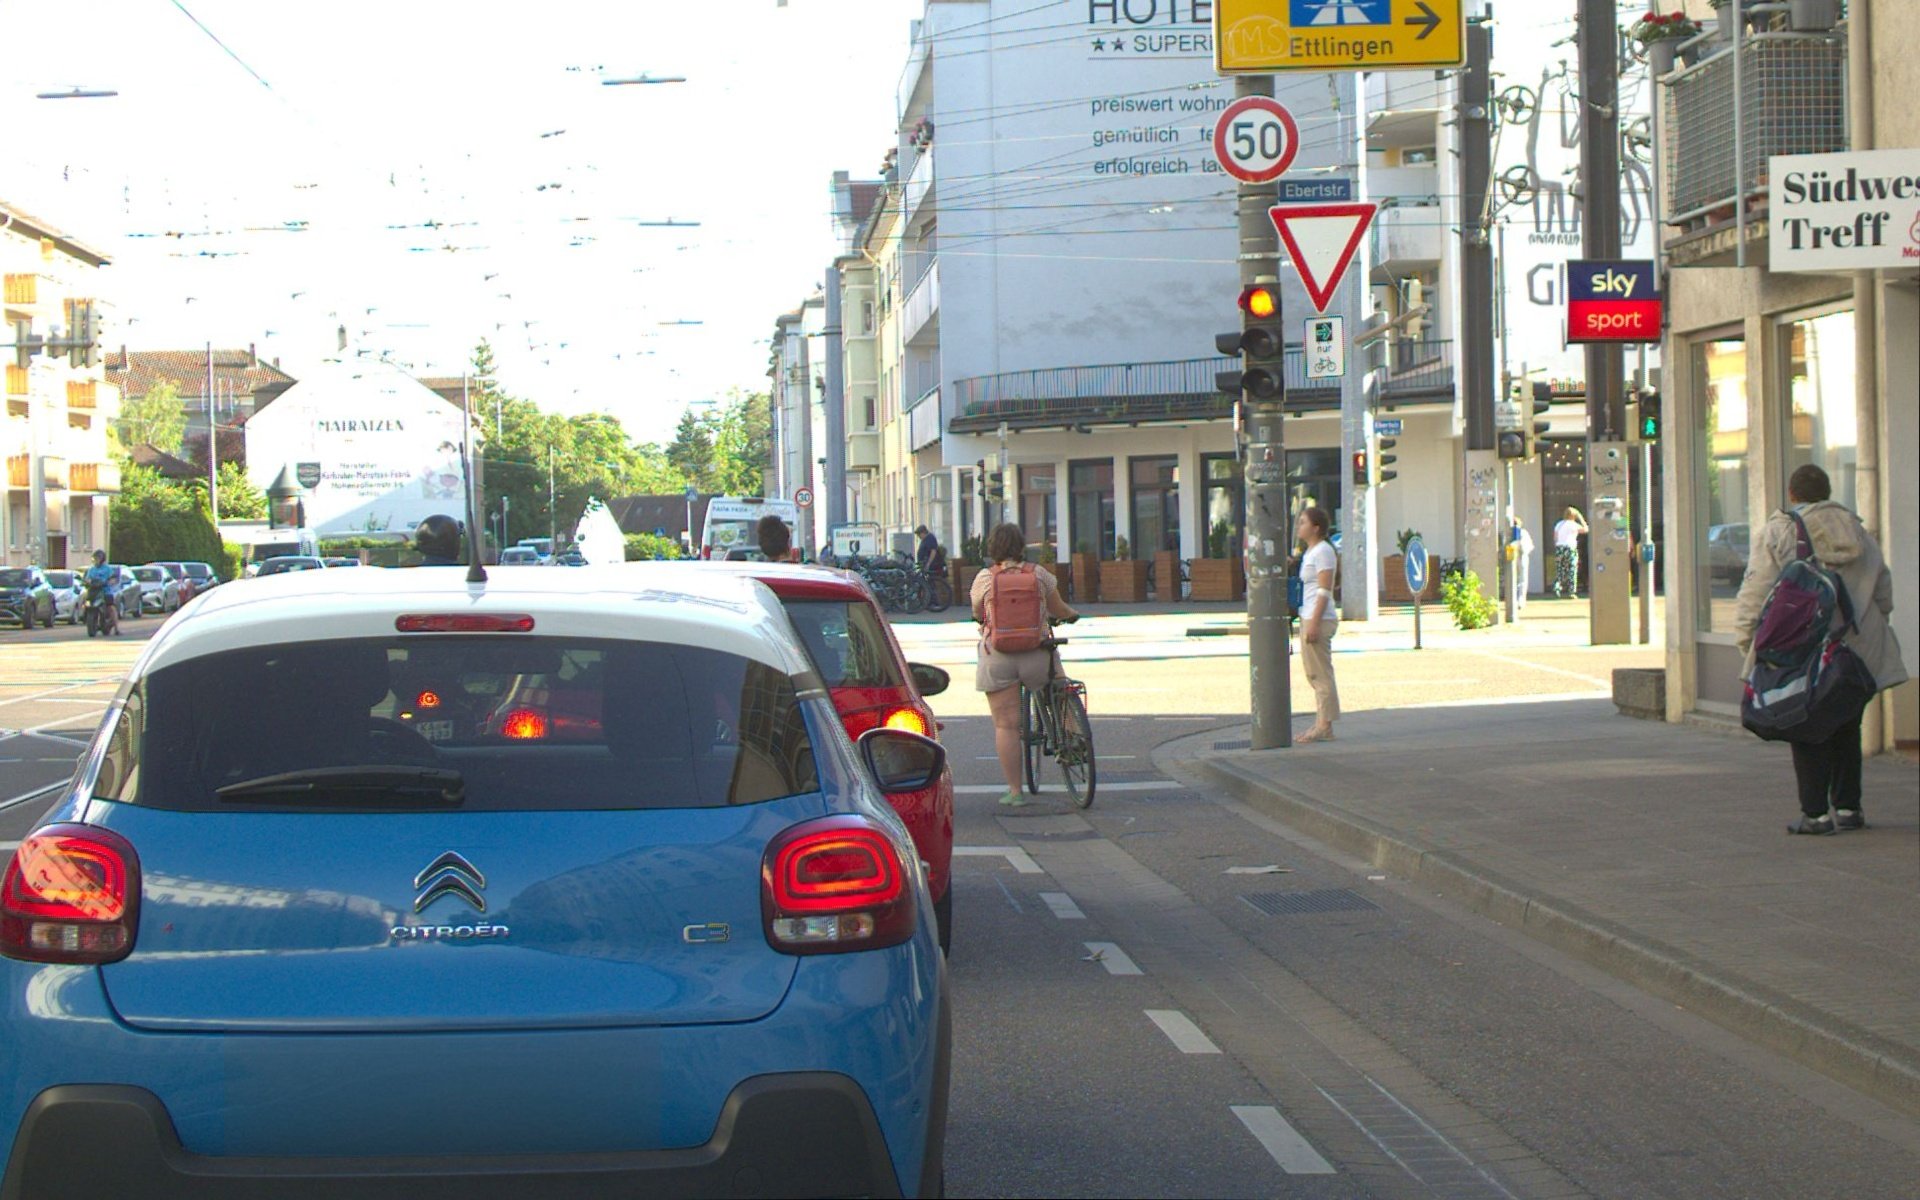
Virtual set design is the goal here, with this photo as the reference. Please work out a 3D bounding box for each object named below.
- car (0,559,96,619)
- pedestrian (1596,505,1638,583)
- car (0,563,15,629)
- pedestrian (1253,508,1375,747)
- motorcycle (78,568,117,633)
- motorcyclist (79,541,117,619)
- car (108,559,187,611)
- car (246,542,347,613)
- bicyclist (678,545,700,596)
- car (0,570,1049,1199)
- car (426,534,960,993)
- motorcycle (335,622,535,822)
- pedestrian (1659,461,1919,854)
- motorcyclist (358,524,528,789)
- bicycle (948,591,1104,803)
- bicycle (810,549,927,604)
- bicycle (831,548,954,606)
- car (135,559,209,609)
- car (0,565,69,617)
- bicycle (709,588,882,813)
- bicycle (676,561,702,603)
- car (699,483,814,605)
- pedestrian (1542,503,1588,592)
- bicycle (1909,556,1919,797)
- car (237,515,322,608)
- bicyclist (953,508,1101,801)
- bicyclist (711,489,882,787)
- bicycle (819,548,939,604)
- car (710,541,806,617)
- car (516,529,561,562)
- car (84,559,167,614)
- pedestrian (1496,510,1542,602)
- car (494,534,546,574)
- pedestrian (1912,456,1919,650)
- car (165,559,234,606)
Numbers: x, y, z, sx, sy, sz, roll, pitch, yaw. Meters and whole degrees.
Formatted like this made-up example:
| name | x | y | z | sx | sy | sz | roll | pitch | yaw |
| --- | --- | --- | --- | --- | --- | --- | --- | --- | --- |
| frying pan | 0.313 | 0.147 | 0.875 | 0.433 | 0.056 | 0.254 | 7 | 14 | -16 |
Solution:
| name | x | y | z | sx | sy | sz | roll | pitch | yaw |
| --- | --- | --- | --- | --- | --- | --- | --- | --- | --- |
| car | -24.390 | -0.309 | 92.078 | 1.869 | 1.571 | 4.001 | 1 | 1 | -6 |
| pedestrian | 12.347 | -1.049 | 64.601 | 0.607 | 1.439 | 0.554 | 1 | 0 | 28 |
| car | -23.184 | -0.097 | 79.453 | 1.741 | 1.521 | 4.230 | 1 | 1 | -4 |
| pedestrian | 2.494 | 0.186 | 24.191 | 0.540 | 1.618 | 0.732 | -5 | -1 | 21 |
| motorcycle | -16.800 | 0.023 | 66.984 | 0.711 | 1.216 | 1.966 | -1 | -1 | -14 |
| motorcyclist | -16.832 | -0.384 | 67.108 | 0.693 | 1.491 | 0.684 | -1 | -1 | -14 |
| car | -25.418 | -0.482 | 107.626 | 1.869 | 1.571 | 4.001 | 1 | 1 | -6 |
| car | -14.720 | -0.510 | 76.419 | 1.778 | 1.481 | 3.829 | -2 | 1 | -5 |
| bicyclist | -10.870 | -1.177 | 137.976 | 0.791 | 2.018 | 0.986 | 1 | 0 | 1 |
| car | -0.767 | 0.672 | 7.169 | 1.736 | 1.447 | 3.662 | 0 | 1 | 4 |
| car | -1.070 | 0.523 | 13.512 | 1.784 | 1.516 | 3.763 | 1 | 1 | -5 |
| motorcycle | -2.964 | 0.668 | 19.600 | 0.855 | 1.043 | 1.942 | 1 | 1 | -1 |
| pedestrian | 3.607 | 0.227 | 14.764 | 0.884 | 1.586 | 0.811 | -4 | 2 | -8 |
| motorcyclist | -2.965 | 0.316 | 19.769 | 0.855 | 1.483 | 0.729 | 1 | 0 | -1 |
| bicycle | 0.415 | 0.548 | 20.538 | 0.811 | 1.177 | 2.064 | 1 | 1 | 4 |
| bicycle | -1.823 | -0.472 | 68.287 | 2.251 | 0.998 | 0.856 | -3 | 1 | -5 |
| bicycle | -1.301 | -0.439 | 65.812 | 2.251 | 0.998 | 0.856 | -3 | 1 | -5 |
| car | -25.822 | -0.540 | 112.707 | 1.869 | 1.571 | 4.001 | 1 | 1 | -6 |
| car | -23.683 | -0.245 | 86.046 | 1.946 | 1.235 | 4.283 | 1 | 1 | -5 |
| bicycle | -0.942 | 0.555 | 20.092 | 0.940 | 1.219 | 2.095 | 1 | 1 | -2 |
| bicycle | -10.876 | -0.712 | 137.978 | 0.791 | 1.664 | 2.230 | 1 | 1 | 1 |
| car | -4.343 | -1.177 | 72.823 | 2.265 | 2.473 | 5.009 | 0 | 1 | -5 |
| pedestrian | 10.975 | -0.959 | 62.386 | 0.611 | 1.603 | 0.668 | 1 | 0 | 29 |
| bicycle | 4.901 | 0.369 | 15.766 | 0.496 | 1.157 | 1.777 | -1 | 0 | -3 |
| car | -23.557 | -1.336 | 119.118 | 2.417 | 3.131 | 3.489 | 1 | 0 | -3 |
| bicyclist | 0.409 | 0.313 | 20.390 | 0.811 | 1.686 | 0.935 | 1 | 0 | 4 |
| bicyclist | -0.933 | 0.209 | 19.885 | 0.940 | 1.667 | 1.079 | 1 | 0 | -2 |
| bicycle | -1.591 | -0.467 | 67.179 | 2.251 | 0.998 | 0.856 | -3 | 1 | -5 |
| car | -4.005 | -0.425 | 67.843 | 1.657 | 1.426 | 3.889 | 1 | 1 | -7 |
| car | -23.017 | -2.965 | 187.835 | 2.074 | 1.756 | 5.037 | 1 | 1 | -4 |
| car | -24.894 | -0.424 | 102.630 | 1.869 | 1.571 | 4.001 | 1 | 1 | -6 |
| pedestrian | 9.823 | -0.777 | 60.406 | 0.610 | 1.603 | 0.668 | 1 | 0 | 27 |
| car | -21.727 | -2.269 | 169.846 | 2.218 | 1.925 | 4.950 | 1 | 1 | -4 |
| pedestrian | 5.804 | -0.274 | 19.190 | 0.623 | 1.084 | 0.679 | -3 | 2 | -37 |
| car | -26.299 | -0.611 | 118.978 | 1.869 | 1.571 | 4.001 | 1 | 1 | -6 |
